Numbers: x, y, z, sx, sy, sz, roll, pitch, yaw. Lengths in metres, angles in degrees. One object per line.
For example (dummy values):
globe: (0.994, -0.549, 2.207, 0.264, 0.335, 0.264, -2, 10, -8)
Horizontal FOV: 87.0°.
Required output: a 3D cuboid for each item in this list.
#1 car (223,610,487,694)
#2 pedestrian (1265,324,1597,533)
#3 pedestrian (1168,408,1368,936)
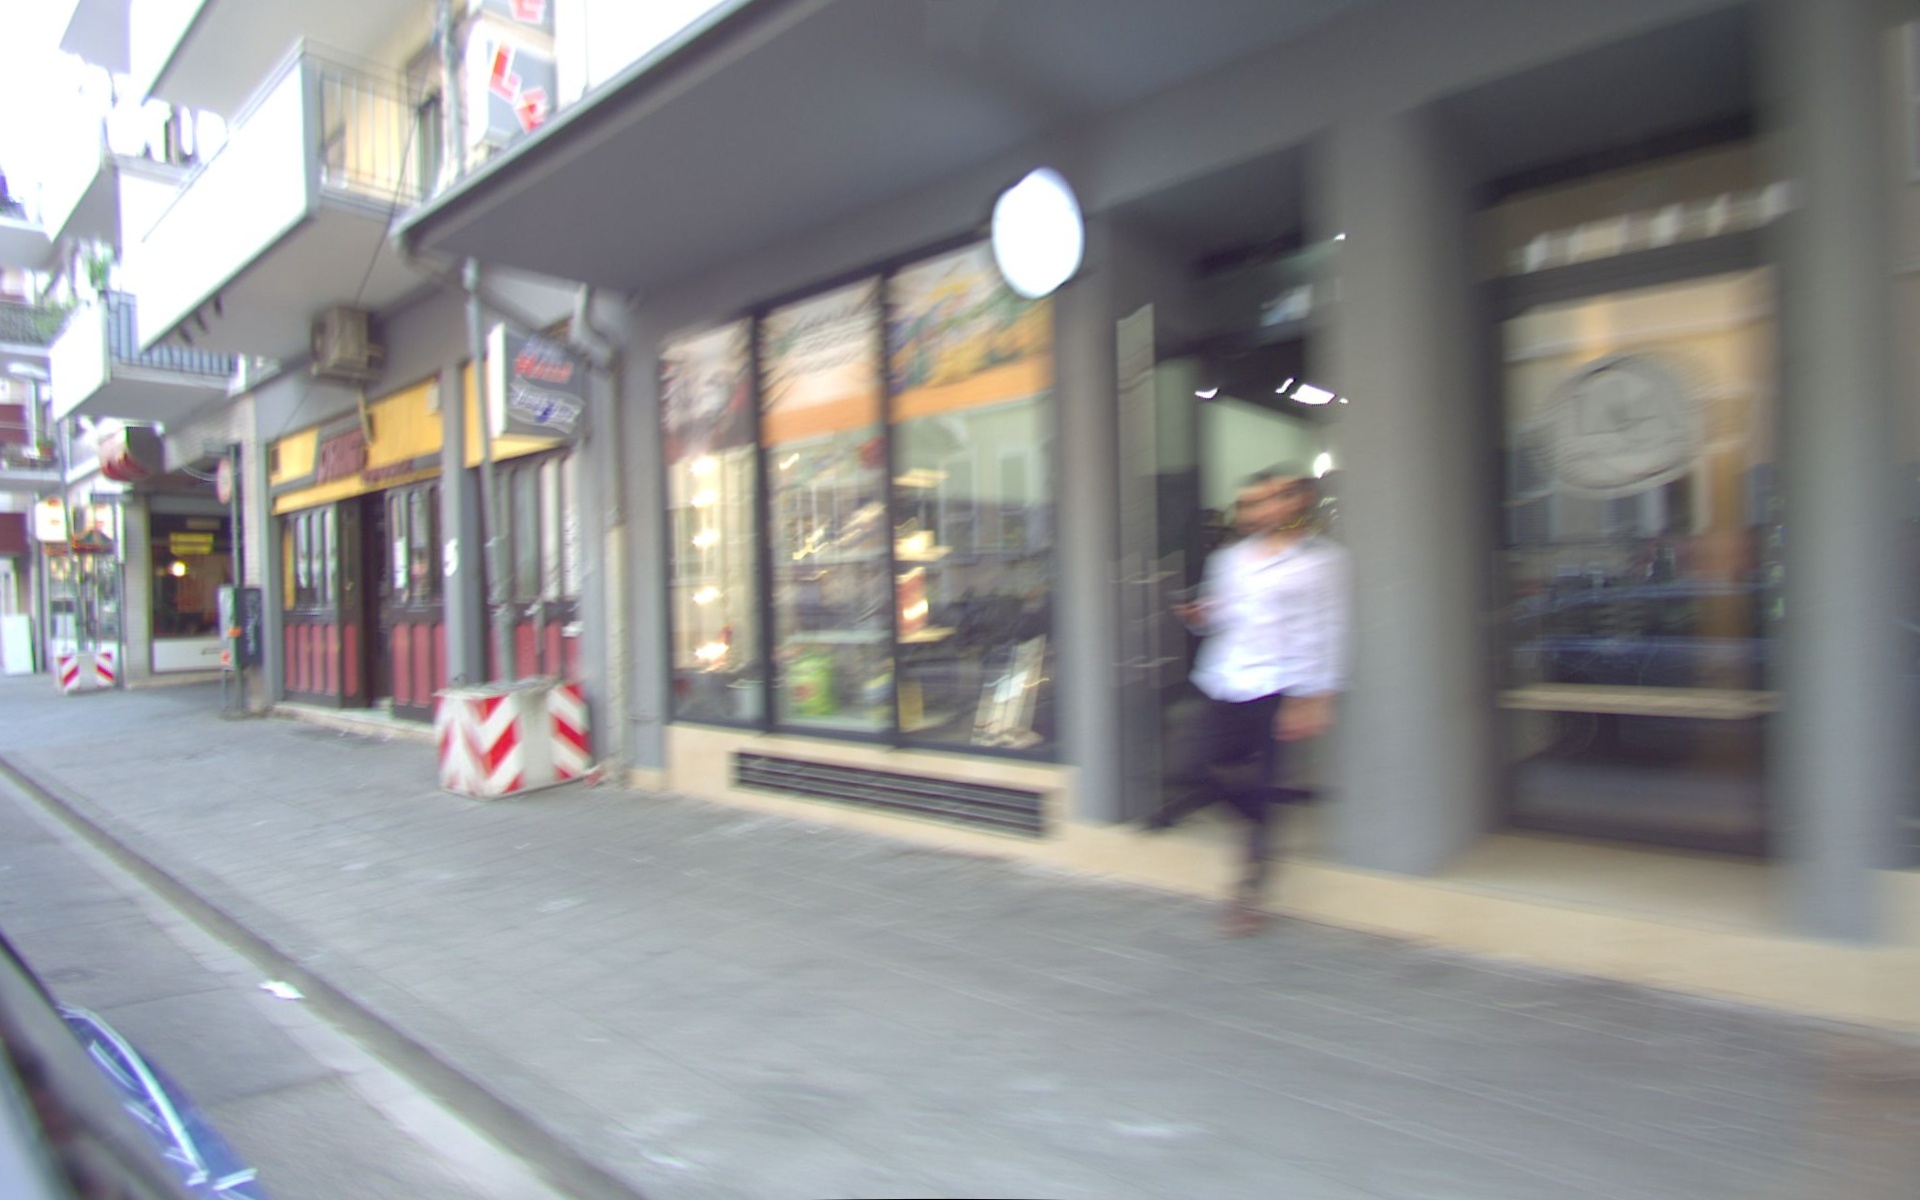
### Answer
car: (-12.391, 1.004, 20.952, 2.018, 1.432, 4.272, -2, 0, 39)
pedestrian: (5.994, -2.067, 13.506, 1.967, 2.029, 4.009, -1, -1, -12)
pedestrian: (1.199, 0.255, 3.928, 0.561, 1.848, 0.526, -2, -1, 35)
